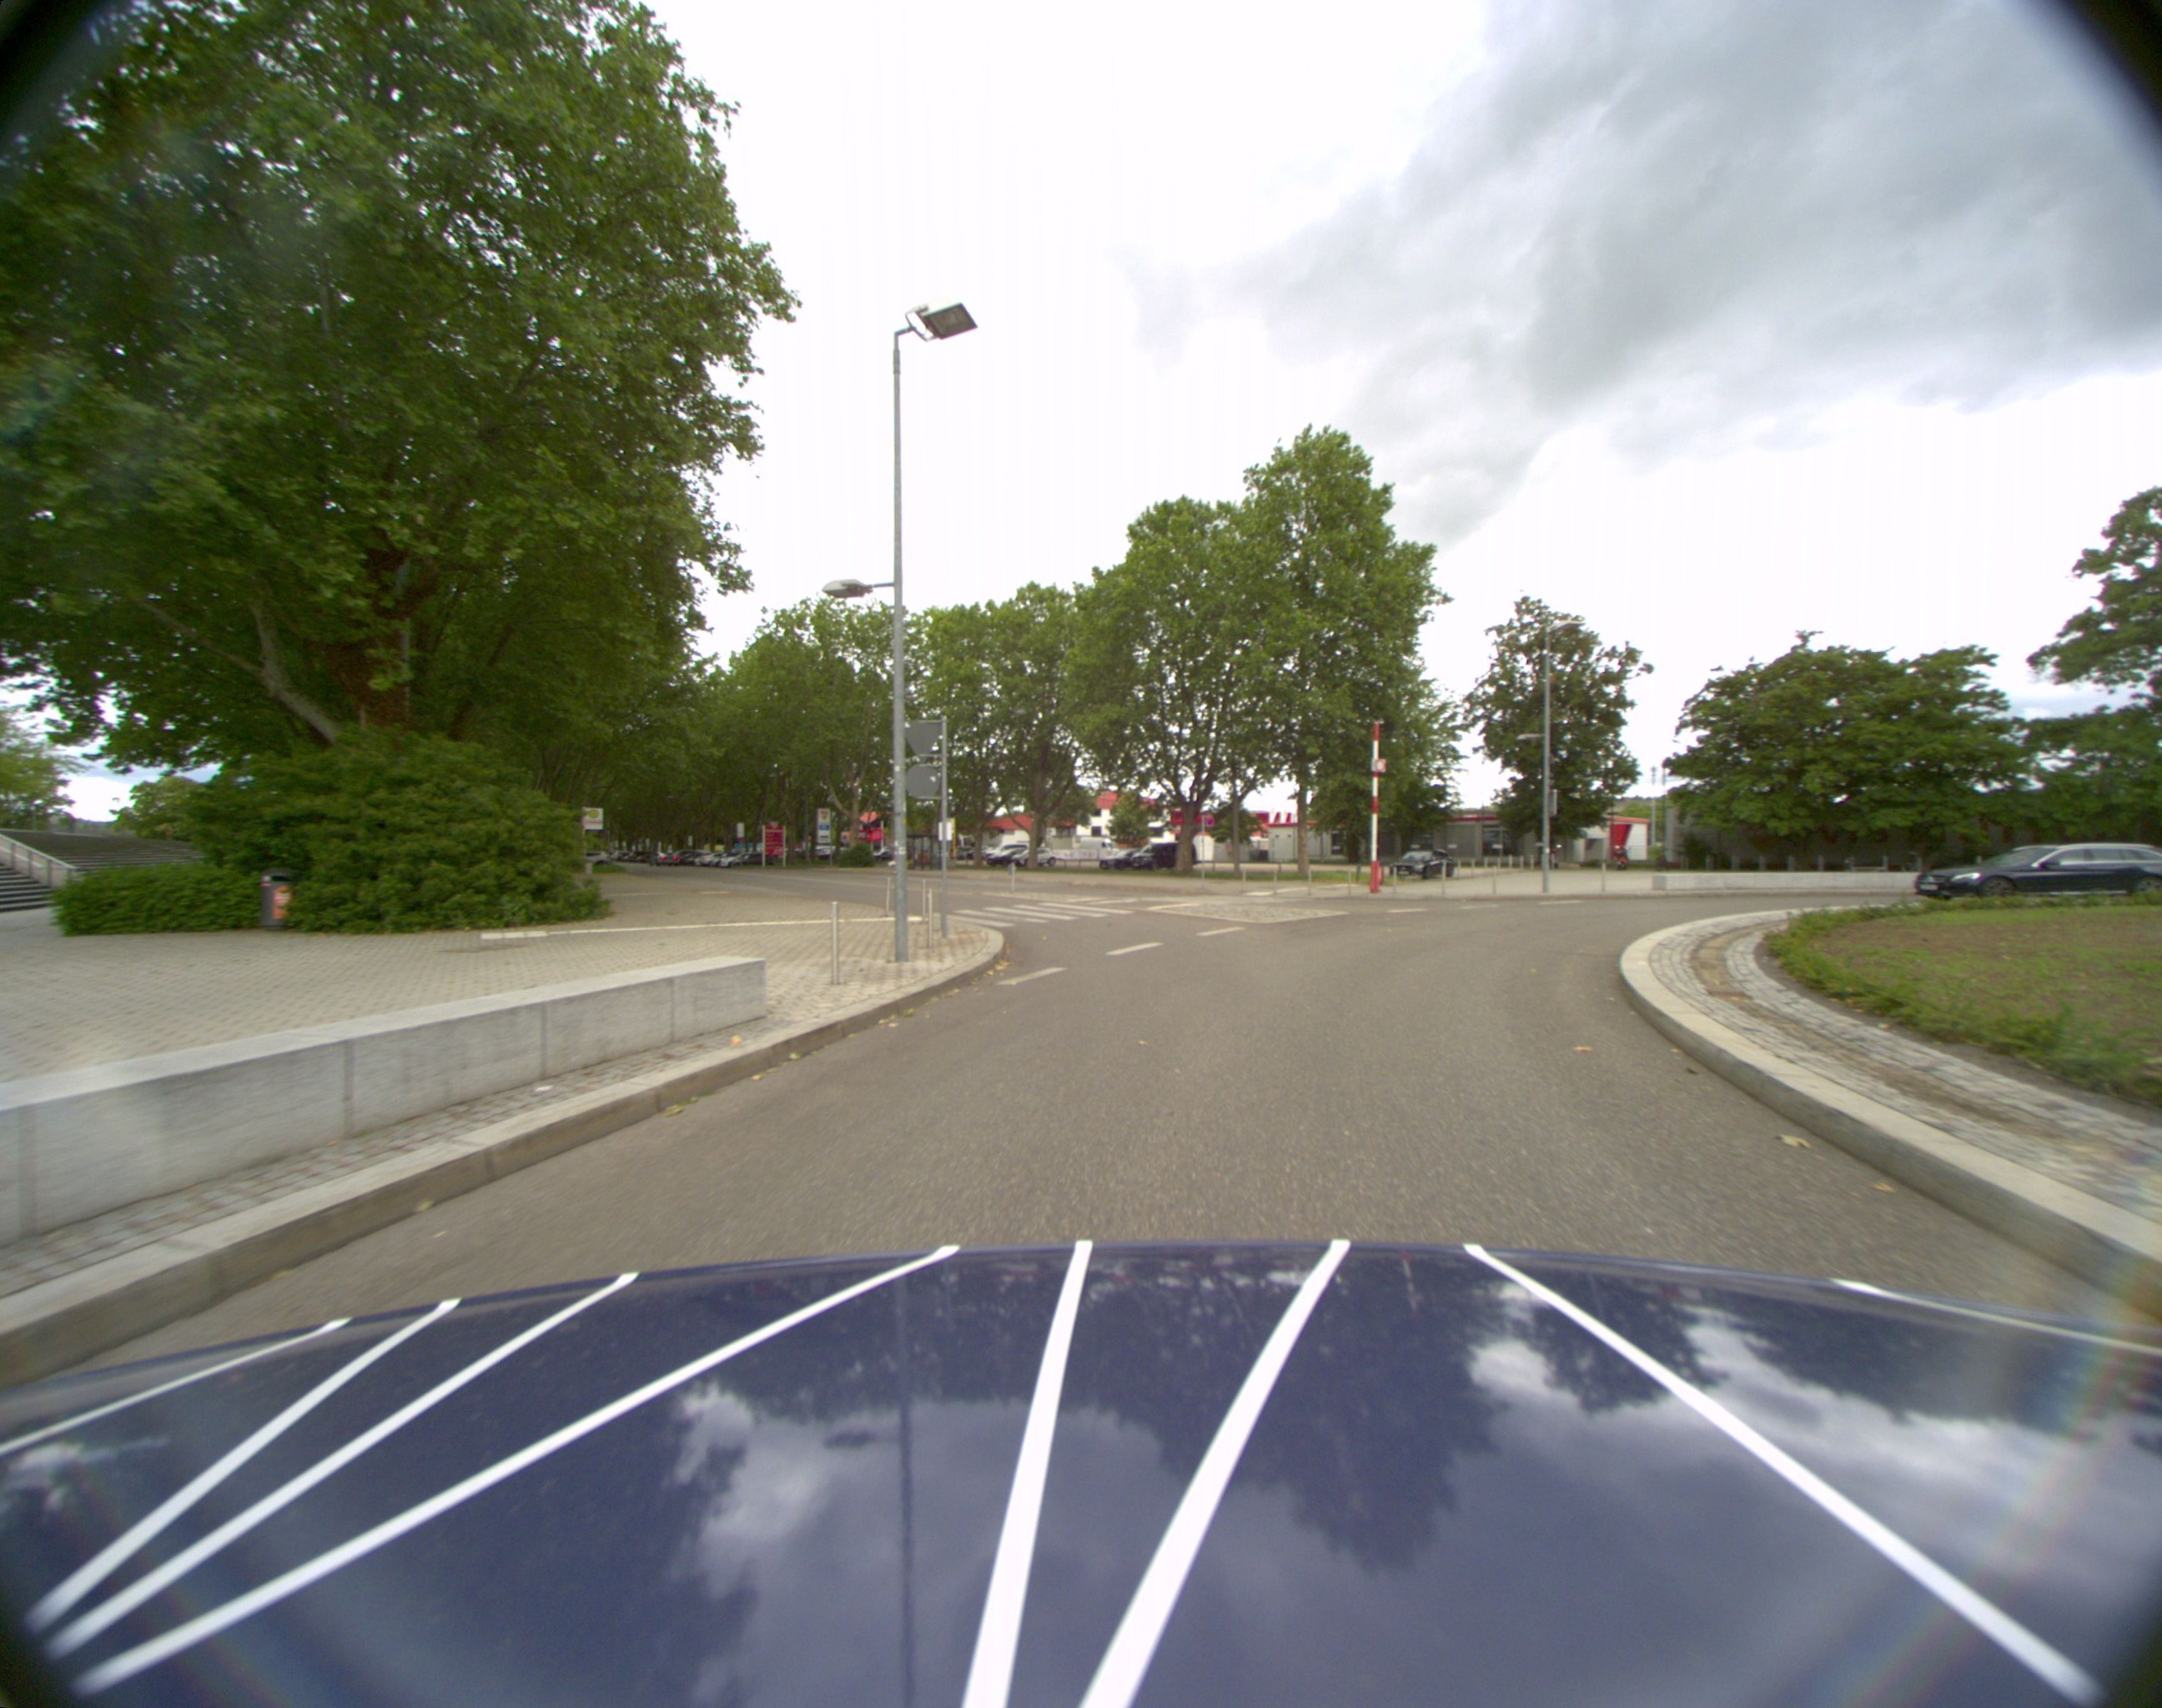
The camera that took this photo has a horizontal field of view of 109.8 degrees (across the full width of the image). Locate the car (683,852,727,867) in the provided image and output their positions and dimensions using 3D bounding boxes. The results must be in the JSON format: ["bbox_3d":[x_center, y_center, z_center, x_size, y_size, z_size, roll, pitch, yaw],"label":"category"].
[{"bbox_3d":[-40.838,0.613,82.505,4.014,1.510,1.867,-2,1,-33],"label":"car"}]

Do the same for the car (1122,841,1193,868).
[{"bbox_3d":[5.179,0.012,51.261,4.821,1.718,2.006,-2,1,-41],"label":"car"}]

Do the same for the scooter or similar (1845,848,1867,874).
[{"bbox_3d":[34.880,0.324,34.196,1.979,1.103,0.638,-2,1,-43],"label":"scooter or similar"}]

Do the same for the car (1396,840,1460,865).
[{"bbox_3d":[24.121,-0.107,53.049,1.797,1.642,4.432,-1,1,-12],"label":"car"}]

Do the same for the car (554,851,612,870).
[{"bbox_3d":[-43.150,0.534,65.838,4.015,1.510,1.867,-2,1,-38],"label":"car"}]

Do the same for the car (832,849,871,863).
[{"bbox_3d":[-26.728,0.204,88.582,4.013,1.510,1.867,-2,1,-31],"label":"car"}]

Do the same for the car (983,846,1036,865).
[{"bbox_3d":[-6.021,0.116,63.930,4.013,1.510,1.867,-2,1,-30],"label":"car"}]

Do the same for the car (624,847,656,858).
[{"bbox_3d":[-64.949,-0.179,111.931,4.014,1.510,1.867,-2,1,-33],"label":"car"}]

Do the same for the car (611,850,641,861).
[{"bbox_3d":[-71.267,0.243,119.031,4.014,1.510,1.867,-2,1,-33],"label":"car"}]

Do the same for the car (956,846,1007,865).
[{"bbox_3d":[-8.718,0.119,66.517,4.014,1.510,1.867,-2,1,-33],"label":"car"}]

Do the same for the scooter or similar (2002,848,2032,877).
[{"bbox_3d":[37.214,0.321,30.225,1.979,1.103,0.638,-2,1,-43],"label":"scooter or similar"}]

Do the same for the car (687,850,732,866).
[{"bbox_3d":[-39.395,0.415,80.630,4.014,1.510,1.867,-2,1,-33],"label":"car"}]

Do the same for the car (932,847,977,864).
[{"bbox_3d":[-12.621,0.127,75.708,4.014,1.510,1.867,-2,1,-33],"label":"car"}]

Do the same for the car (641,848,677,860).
[{"bbox_3d":[-55.249,-0.022,99.467,4.014,1.510,1.867,-2,1,-33],"label":"car"}]

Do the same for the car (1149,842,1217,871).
[{"bbox_3d":[6.564,0.139,48.664,4.300,1.718,2.006,-2,1,-42],"label":"car"}]

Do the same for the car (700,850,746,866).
[{"bbox_3d":[-36.353,0.393,77.211,4.014,1.510,1.867,-2,1,-33],"label":"car"}]

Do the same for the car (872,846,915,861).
[{"bbox_3d":[-20.039,-0.029,81.284,4.013,1.510,1.867,-2,1,-31],"label":"car"}]

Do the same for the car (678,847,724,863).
[{"bbox_3d":[-43.873,0.104,87.724,4.445,1.642,1.792,-2,1,-38],"label":"car"}]

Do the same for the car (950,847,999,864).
[{"bbox_3d":[-9.773,0.114,69.873,4.014,1.510,1.867,-2,1,-33],"label":"car"}]

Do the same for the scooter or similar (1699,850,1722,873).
[{"bbox_3d":[31.877,0.376,38.467,1.979,1.103,0.638,-2,1,-43],"label":"scooter or similar"}]

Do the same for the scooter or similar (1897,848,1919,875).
[{"bbox_3d":[36.216,0.319,33.286,1.979,1.103,0.638,-2,1,-43],"label":"scooter or similar"}]

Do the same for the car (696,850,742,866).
[{"bbox_3d":[-37.748,0.399,79.227,4.014,1.510,1.867,-2,1,-33],"label":"car"}]

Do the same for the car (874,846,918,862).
[{"bbox_3d":[-19.157,-0.006,78.886,4.013,1.510,1.867,-2,1,-31],"label":"car"}]

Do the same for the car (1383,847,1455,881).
[{"bbox_3d":[16.596,0.483,37.242,3.833,1.516,1.774,-2,1,-41],"label":"car"}]

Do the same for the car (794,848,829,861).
[{"bbox_3d":[-35.107,0.074,99.010,4.013,1.510,1.867,-2,1,-31],"label":"car"}]

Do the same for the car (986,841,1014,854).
[{"bbox_3d":[-10.841,-0.834,101.599,1.800,1.710,3.945,-2,1,-43],"label":"car"}]

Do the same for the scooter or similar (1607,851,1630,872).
[{"bbox_3d":[29.374,0.401,41.495,1.979,1.103,0.638,-2,1,-43],"label":"scooter or similar"}]

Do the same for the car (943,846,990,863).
[{"bbox_3d":[-10.984,0.030,72.975,4.014,1.510,1.867,-2,1,-33],"label":"car"}]

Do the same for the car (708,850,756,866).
[{"bbox_3d":[-34.486,0.404,75.041,4.014,1.510,1.867,-2,1,-33],"label":"car"}]

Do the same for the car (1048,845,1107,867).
[{"bbox_3d":[-0.239,0.127,56.315,4.014,1.510,1.867,-2,1,-33],"label":"car"}]

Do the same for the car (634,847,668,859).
[{"bbox_3d":[-60.198,-0.178,106.362,4.014,1.510,1.867,-2,1,-33],"label":"car"}]

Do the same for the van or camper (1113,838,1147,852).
[{"bbox_3d":[6.365,-1.159,99.495,1.800,1.778,4.424,-2,1,-43],"label":"van or camper"}]

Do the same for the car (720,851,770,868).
[{"bbox_3d":[-31.601,0.512,71.389,4.014,1.510,1.867,-2,1,-33],"label":"car"}]

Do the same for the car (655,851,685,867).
[{"bbox_3d":[-41.255,0.497,76.204,2.109,1.510,4.594,-2,1,-34],"label":"car"}]

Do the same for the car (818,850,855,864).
[{"bbox_3d":[-30.258,0.362,94.018,4.013,1.510,1.867,-2,1,-31],"label":"car"}]

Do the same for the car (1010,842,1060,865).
[{"bbox_3d":[-3.806,-0.056,62.476,3.718,1.767,1.666,-2,1,-33],"label":"car"}]

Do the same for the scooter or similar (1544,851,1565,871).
[{"bbox_3d":[27.631,0.404,44.323,1.813,1.088,0.544,-2,1,-43],"label":"scooter or similar"}]

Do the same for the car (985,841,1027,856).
[{"bbox_3d":[-8.303,-0.639,84.650,4.445,1.642,1.791,-2,1,-43],"label":"car"}]

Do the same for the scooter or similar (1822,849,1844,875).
[{"bbox_3d":[34.394,0.343,34.742,1.979,1.103,0.638,-2,1,-43],"label":"scooter or similar"}]

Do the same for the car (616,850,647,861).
[{"bbox_3d":[-68.362,0.232,115.634,4.014,1.510,1.867,-2,1,-33],"label":"car"}]

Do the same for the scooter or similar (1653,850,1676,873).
[{"bbox_3d":[30.563,0.389,39.781,1.979,1.103,0.638,-2,1,-43],"label":"scooter or similar"}]

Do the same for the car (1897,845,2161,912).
[{"bbox_3d":[24.159,0.599,19.078,4.718,1.555,1.799,-1,1,19],"label":"car"}]

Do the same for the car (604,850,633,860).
[{"bbox_3d":[-76.114,0.216,125.016,4.014,1.510,1.867,-2,1,-33],"label":"car"}]

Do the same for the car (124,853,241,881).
[{"bbox_3d":[-52.500,0.735,44.503,4.014,1.510,1.867,-2,1,-33],"label":"car"}]

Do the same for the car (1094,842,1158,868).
[{"bbox_3d":[3.156,0.041,53.042,4.300,1.718,2.006,-2,1,-42],"label":"car"}]

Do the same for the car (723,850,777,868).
[{"bbox_3d":[-30.323,0.431,69.623,4.183,1.510,1.867,-2,1,-33],"label":"car"}]

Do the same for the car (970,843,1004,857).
[{"bbox_3d":[-12.027,-0.535,96.995,3.964,1.642,1.791,-2,1,-43],"label":"car"}]

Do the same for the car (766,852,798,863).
[{"bbox_3d":[-42.925,0.521,109.112,4.014,1.510,1.867,-2,1,-33],"label":"car"}]

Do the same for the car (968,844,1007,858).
[{"bbox_3d":[-10.664,-0.337,86.724,4.015,1.510,1.866,-2,1,-41],"label":"car"}]
